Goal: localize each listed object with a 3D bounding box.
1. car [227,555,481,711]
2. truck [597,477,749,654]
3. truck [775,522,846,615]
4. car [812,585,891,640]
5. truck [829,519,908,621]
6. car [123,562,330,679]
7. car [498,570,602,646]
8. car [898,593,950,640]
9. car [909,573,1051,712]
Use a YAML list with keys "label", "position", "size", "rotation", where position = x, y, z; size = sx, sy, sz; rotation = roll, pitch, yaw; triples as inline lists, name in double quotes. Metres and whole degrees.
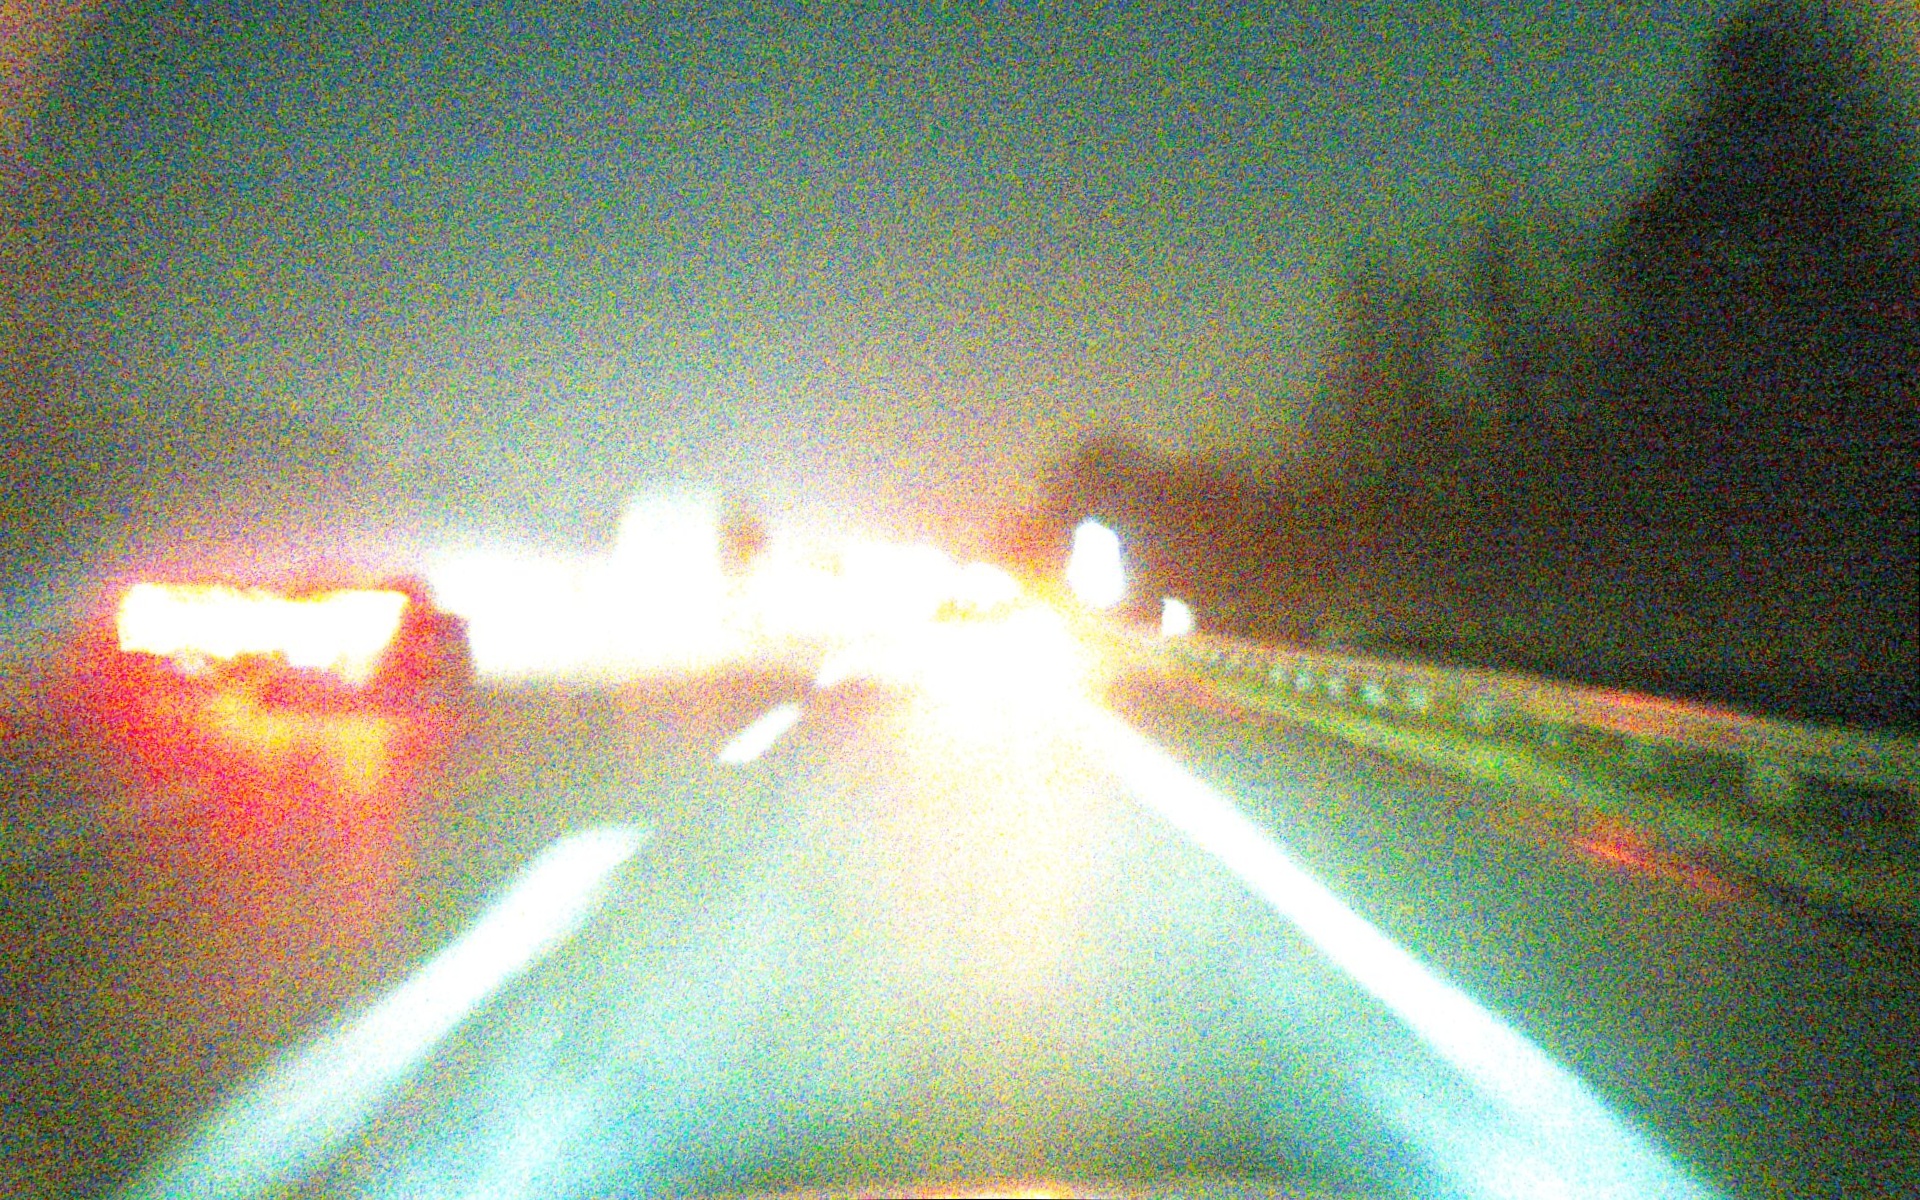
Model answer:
- label: "car"
  position: [-7.775, 0.386, 21.709]
  size: [1.999, 1.792, 4.510]
  rotation: [1, 0, -5]
- label: "truck"
  position: [-8.567, -0.958, 50.668]
  size: [3.584, 4.820, 9.843]
  rotation: [1, 0, -4]
- label: "truck"
  position: [-9.433, -1.936, 105.717]
  size: [4.170, 5.539, 10.875]
  rotation: [1, 0, -4]
- label: "car"
  position: [-4.280, 0.479, 66.301]
  size: [2.775, 2.049, 5.510]
  rotation: [1, 0, 0]
- label: "truck"
  position: [-5.124, -1.614, 92.547]
  size: [4.079, 5.306, 9.948]
  rotation: [1, 0, -3]
- label: "car"
  position: [-11.645, 0.278, 26.550]
  size: [1.730, 1.718, 3.997]
  rotation: [1, 1, -4]
- label: "car"
  position: [-12.438, 0.209, 50.529]
  size: [2.081, 2.141, 5.625]
  rotation: [1, 0, -4]
- label: "car"
  position: [-1.392, 0.631, 65.941]
  size: [1.953, 1.733, 4.458]
  rotation: [1, 0, 0]
- label: "car"
  position: [0.270, 0.551, 23.776]
  size: [1.839, 1.793, 4.000]
  rotation: [1, 0, 0]
